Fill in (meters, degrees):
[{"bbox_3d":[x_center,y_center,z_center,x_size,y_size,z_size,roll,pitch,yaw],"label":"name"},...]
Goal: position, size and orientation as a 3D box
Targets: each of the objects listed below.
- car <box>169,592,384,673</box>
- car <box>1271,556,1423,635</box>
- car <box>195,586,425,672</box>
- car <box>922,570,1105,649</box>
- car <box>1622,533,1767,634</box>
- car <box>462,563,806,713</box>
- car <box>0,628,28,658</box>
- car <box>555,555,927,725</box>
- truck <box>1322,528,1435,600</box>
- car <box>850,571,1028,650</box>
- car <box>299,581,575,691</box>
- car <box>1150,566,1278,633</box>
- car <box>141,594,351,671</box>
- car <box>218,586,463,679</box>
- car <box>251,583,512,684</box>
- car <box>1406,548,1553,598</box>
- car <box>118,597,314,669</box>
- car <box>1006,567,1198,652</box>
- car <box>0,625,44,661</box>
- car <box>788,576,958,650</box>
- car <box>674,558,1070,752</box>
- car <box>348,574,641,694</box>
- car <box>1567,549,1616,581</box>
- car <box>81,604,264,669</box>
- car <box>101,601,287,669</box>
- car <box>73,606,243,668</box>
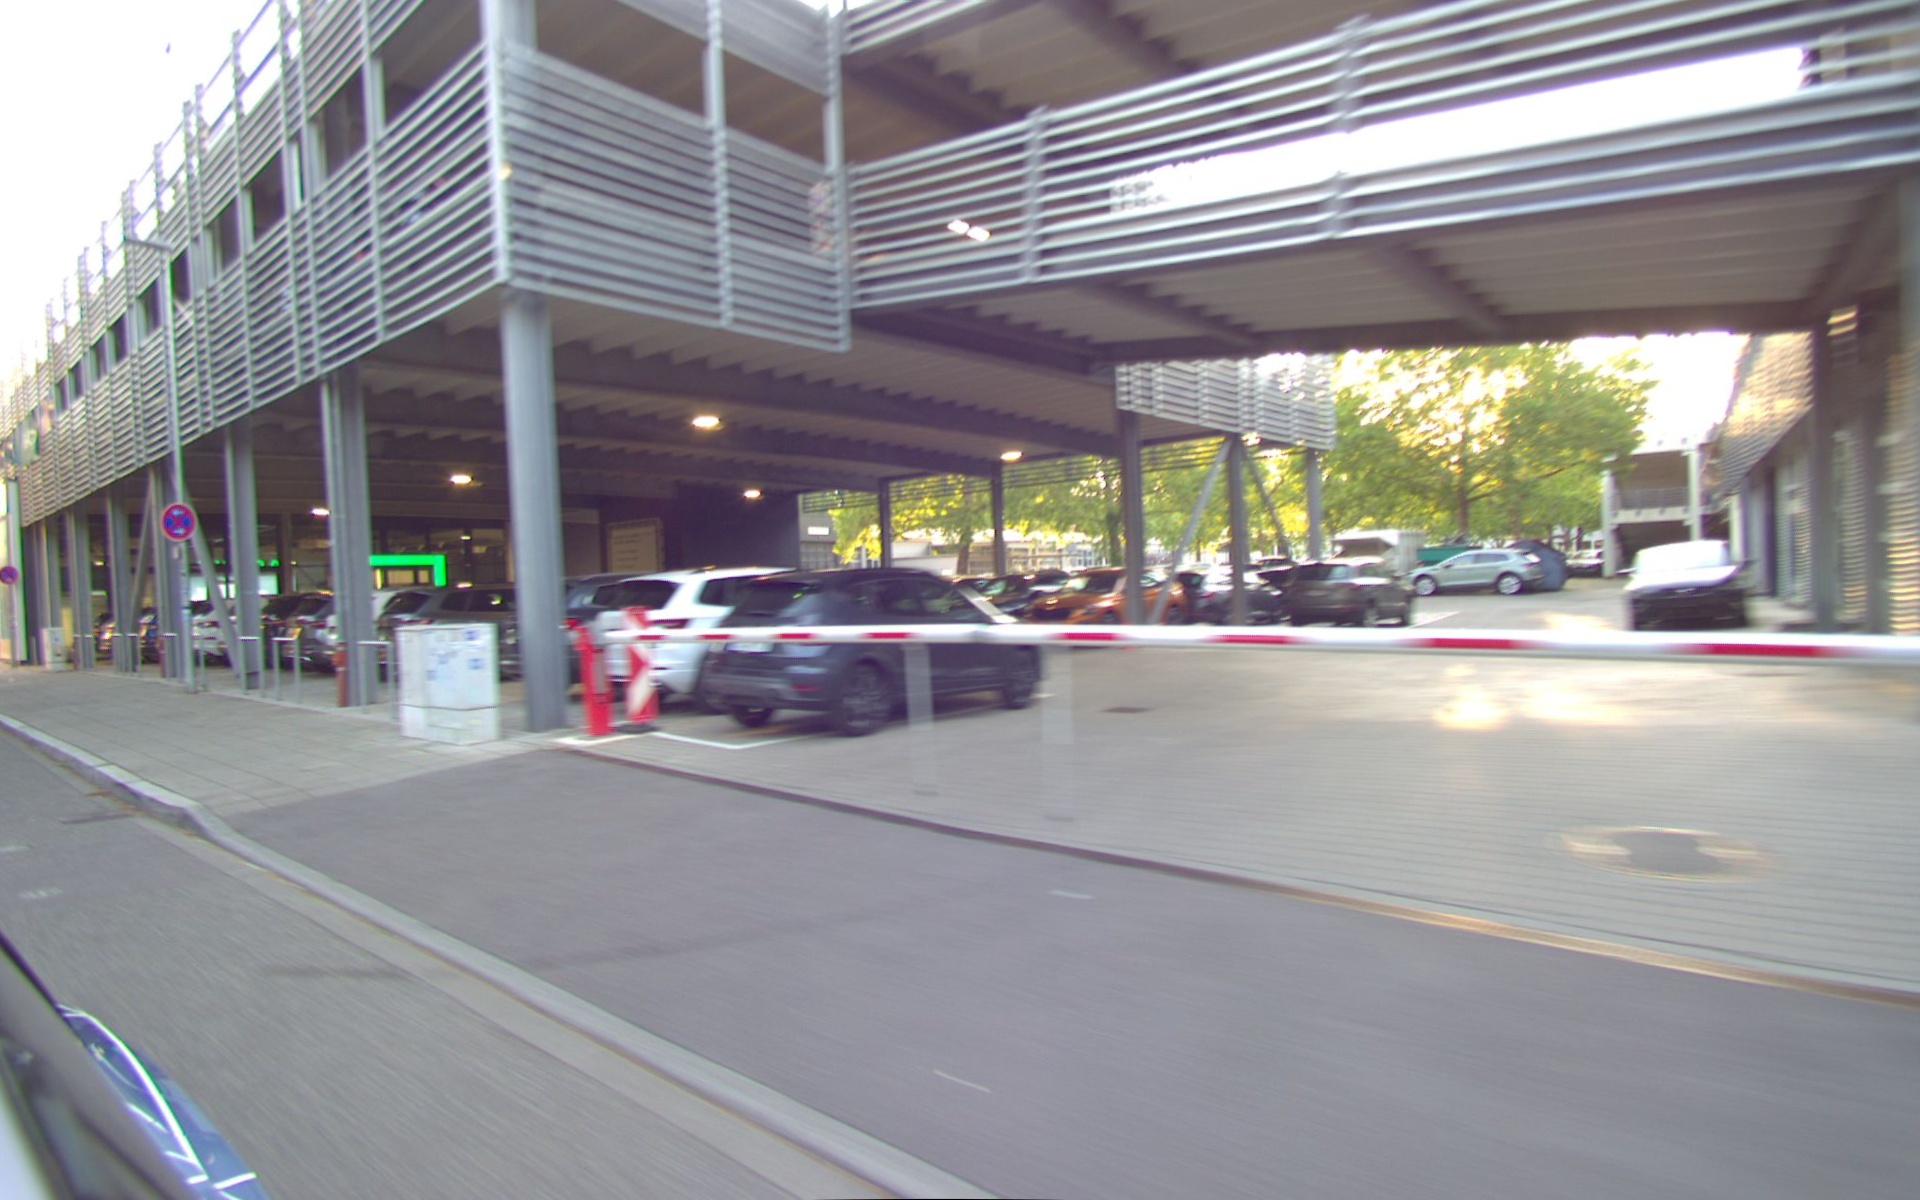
[{"bbox_3d":[-16.629,0.742,24.756,1.859,1.696,3.983,-3,0,42],"label":"car"},{"bbox_3d":[8.768,-0.130,22.744,1.859,1.565,3.939,-3,0,42],"label":"car"},{"bbox_3d":[-14.823,0.620,23.228,1.859,1.696,4.041,-3,0,42],"label":"car"},{"bbox_3d":[1.255,0.171,22.137,1.859,1.506,4.009,-3,0,42],"label":"car"},{"bbox_3d":[12.990,-0.310,17.923,1.784,1.484,3.794,-6,-1,37],"label":"car"},{"bbox_3d":[-4.313,0.418,13.843,1.859,1.696,4.044,-3,0,42],"label":"car"},{"bbox_3d":[-52.575,2.397,55.609,3.874,1.534,1.577,-3,0,41],"label":"car"},{"bbox_3d":[-2.494,0.369,12.272,1.859,1.696,4.037,-3,0,42],"label":"car"},{"bbox_3d":[16.975,-1.484,40.812,2.441,2.587,6.852,-2,1,38],"label":"truck"},{"bbox_3d":[-0.404,0.214,23.593,1.859,1.591,4.025,-3,0,42],"label":"car"},{"bbox_3d":[-9.463,0.600,18.561,1.859,1.696,4.060,-3,0,42],"label":"car"},{"bbox_3d":[6.166,-0.030,24.364,1.595,1.436,3.415,-2,1,41],"label":"car"},{"bbox_3d":[-18.436,0.801,26.271,1.859,1.696,4.106,-3,0,42],"label":"car"},{"bbox_3d":[-13.100,0.640,21.583,1.859,1.696,4.060,-3,0,42],"label":"car"},{"bbox_3d":[-11.342,0.599,20.049,1.859,1.696,4.060,-3,0,42],"label":"car"},{"bbox_3d":[18.847,-0.969,36.775,4.381,1.585,2.275,-2,1,38],"label":"car"},{"bbox_3d":[-20.327,0.872,27.764,1.859,1.696,3.993,-3,0,42],"label":"car"},{"bbox_3d":[2.993,0.151,20.682,1.830,1.506,4.185,-3,0,42],"label":"car"},{"bbox_3d":[-44.289,2.027,47.297,4.189,1.526,1.680,-3,0,41],"label":"car"},{"bbox_3d":[-2.095,0.293,25.209,1.859,1.608,3.993,-3,0,42],"label":"car"},{"bbox_3d":[-0.722,0.386,10.473,1.858,1.597,3.948,0,2,39],"label":"car"},{"bbox_3d":[-7.708,0.496,17.027,1.859,1.696,4.022,-3,0,42],"label":"car"},{"bbox_3d":[33.758,-1.873,54.047,1.784,1.484,3.794,-6,-1,37],"label":"car"},{"bbox_3d":[-24.080,1.075,31.053,1.859,1.696,4.122,-3,0,42],"label":"car"},{"bbox_3d":[-22.277,0.977,29.540,1.859,1.696,3.993,-3,0,42],"label":"car"},{"bbox_3d":[-25.818,1.168,32.664,1.859,1.696,4.000,-3,0,42],"label":"car"}]
